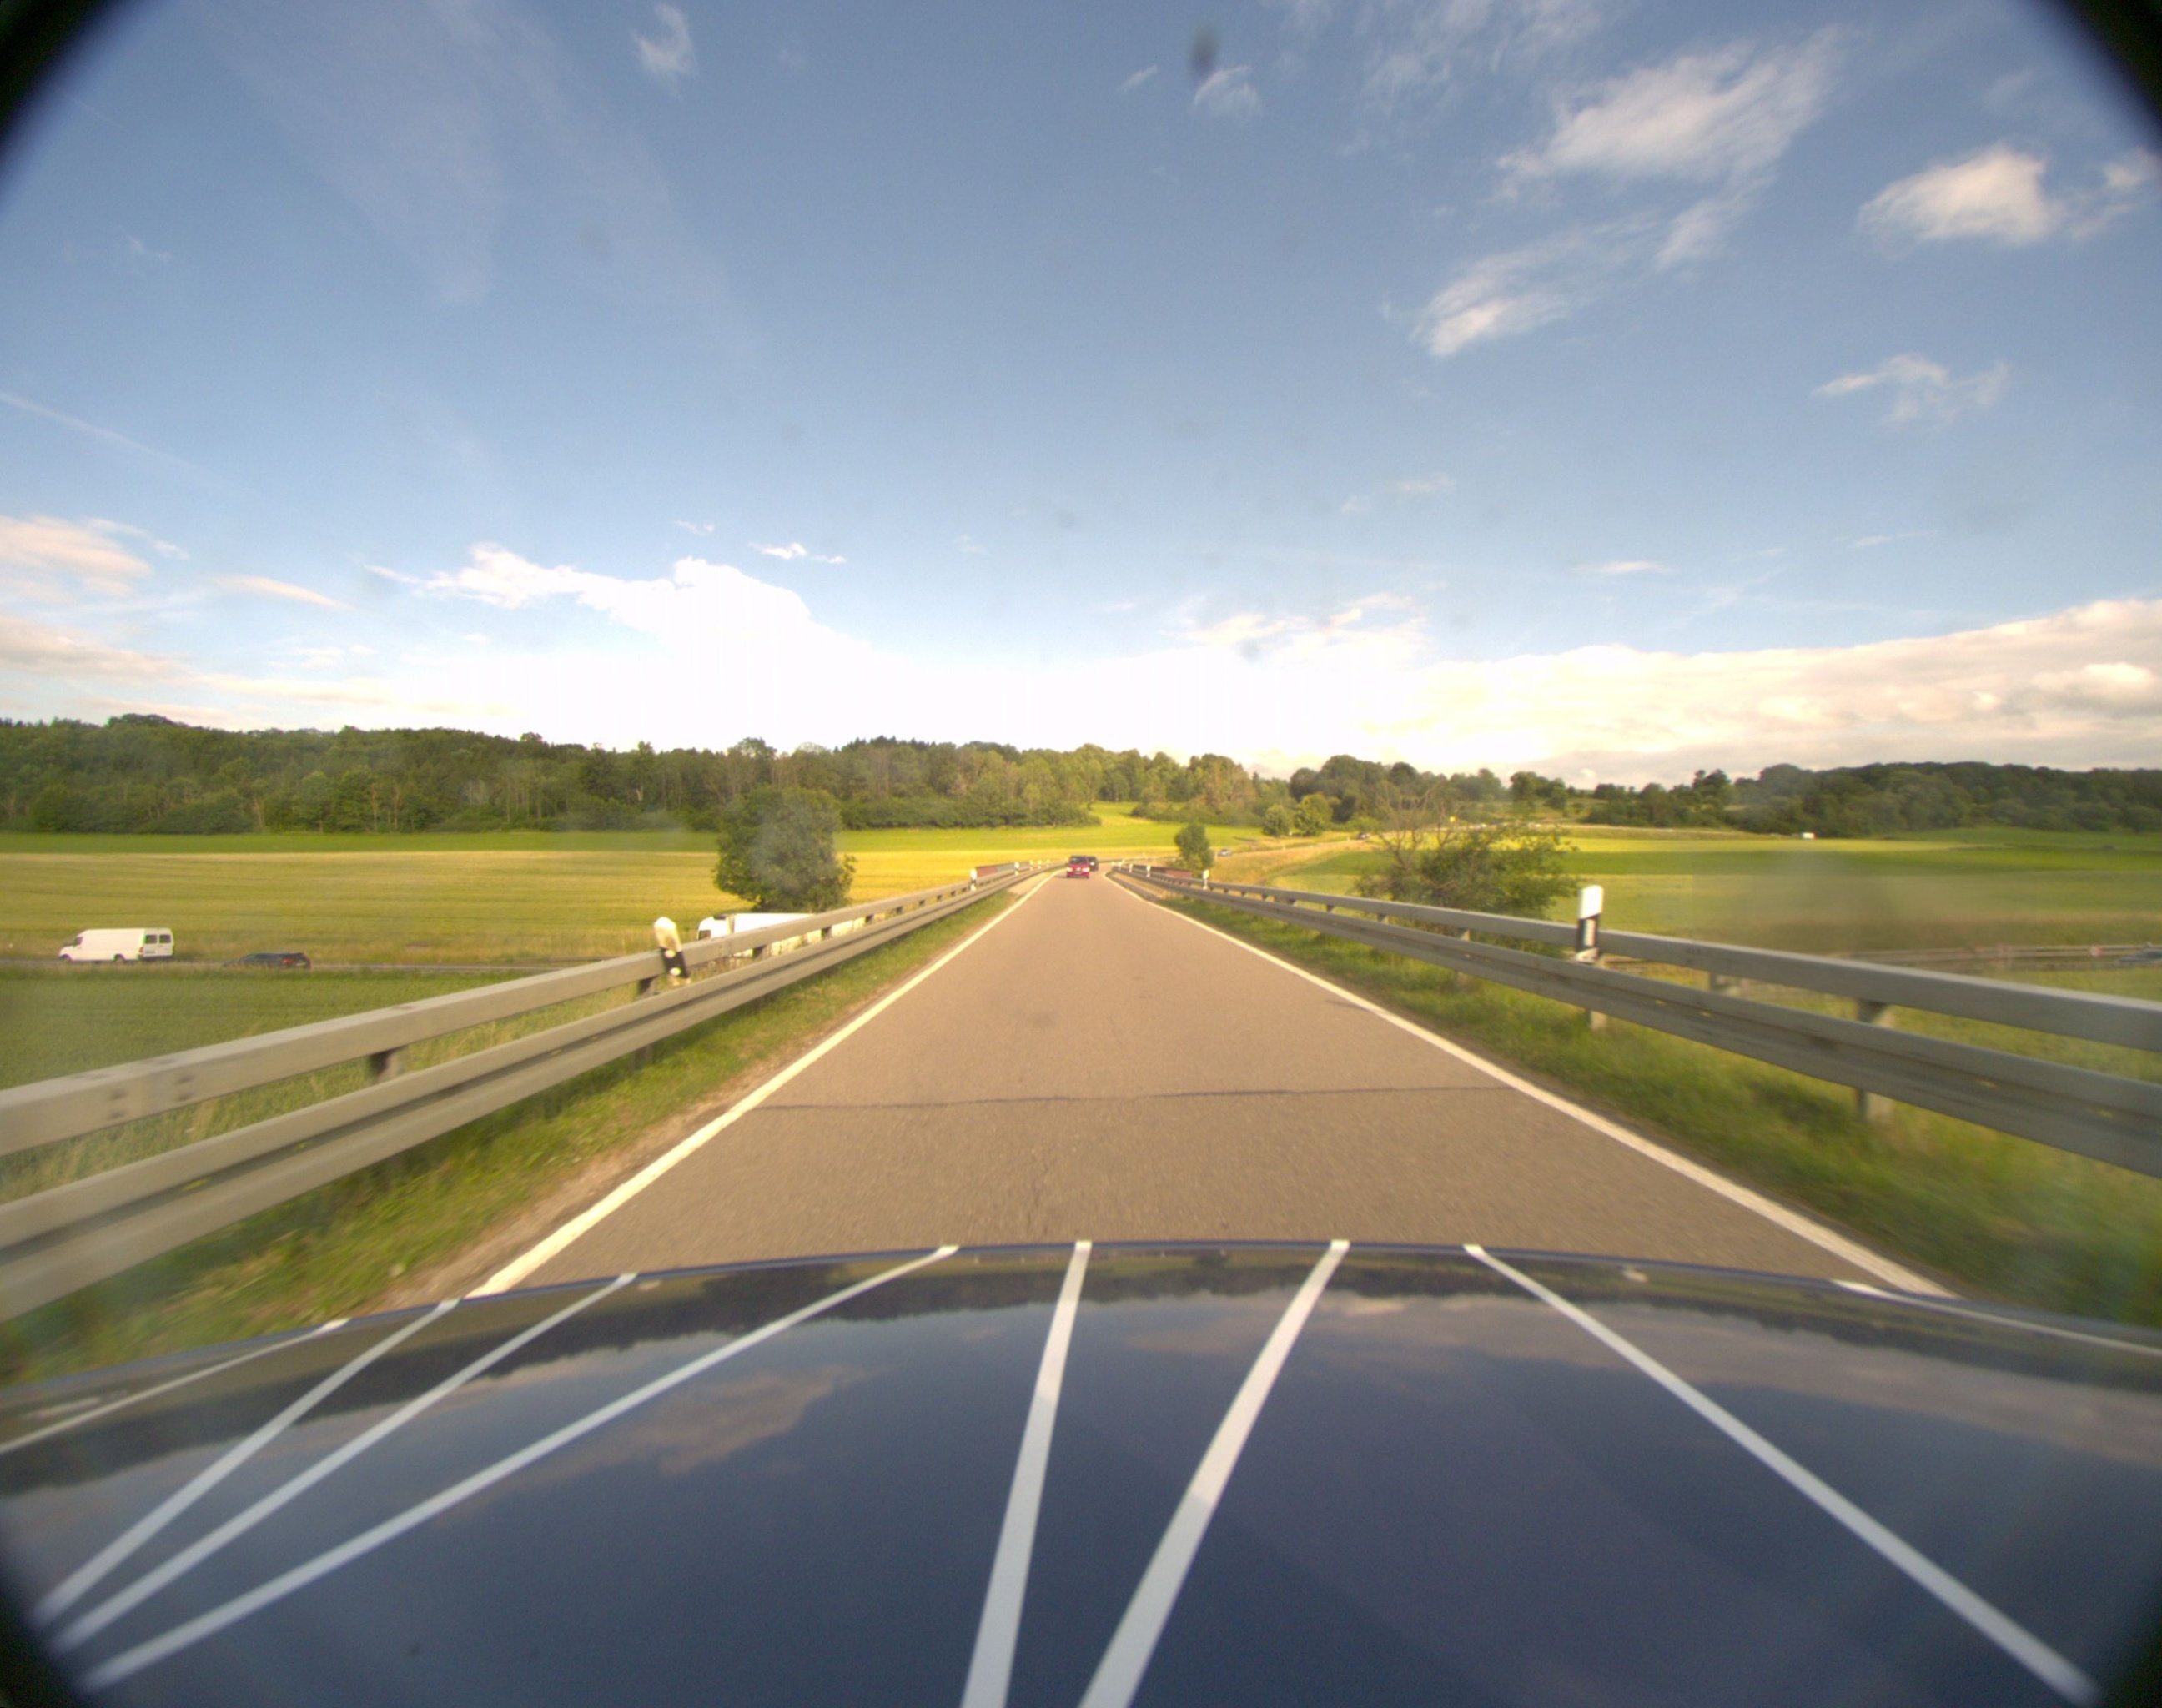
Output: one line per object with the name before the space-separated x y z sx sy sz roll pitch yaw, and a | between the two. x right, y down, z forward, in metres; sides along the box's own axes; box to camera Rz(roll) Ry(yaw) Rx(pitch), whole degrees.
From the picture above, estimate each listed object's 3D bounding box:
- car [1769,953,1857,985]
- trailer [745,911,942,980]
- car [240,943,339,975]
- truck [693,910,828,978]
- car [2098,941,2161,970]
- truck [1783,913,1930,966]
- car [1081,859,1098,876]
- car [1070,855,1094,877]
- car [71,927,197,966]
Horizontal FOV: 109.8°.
car | 46.954 7.383 48.795 3.999 1.640 1.827 2 1 -4
trailer | -16.362 6.307 52.974 12.715 4.440 3.034 0 -2 2
car | -49.999 6.622 48.053 4.370 1.692 1.777 1 2 0
truck | -22.285 6.223 53.157 8.048 4.440 3.031 0 -2 2
car | 70.504 6.715 50.351 3.998 1.640 1.827 0 1 -4
truck | 55.053 6.046 54.023 8.491 3.386 2.123 1 1 -3
car | 0.935 1.478 86.511 1.821 1.602 3.998 1 3 0
car | 0.019 0.962 60.202 1.821 1.645 4.000 0 -1 -1
car | -67.707 6.577 54.395 6.116 2.568 2.376 1 -4 4
